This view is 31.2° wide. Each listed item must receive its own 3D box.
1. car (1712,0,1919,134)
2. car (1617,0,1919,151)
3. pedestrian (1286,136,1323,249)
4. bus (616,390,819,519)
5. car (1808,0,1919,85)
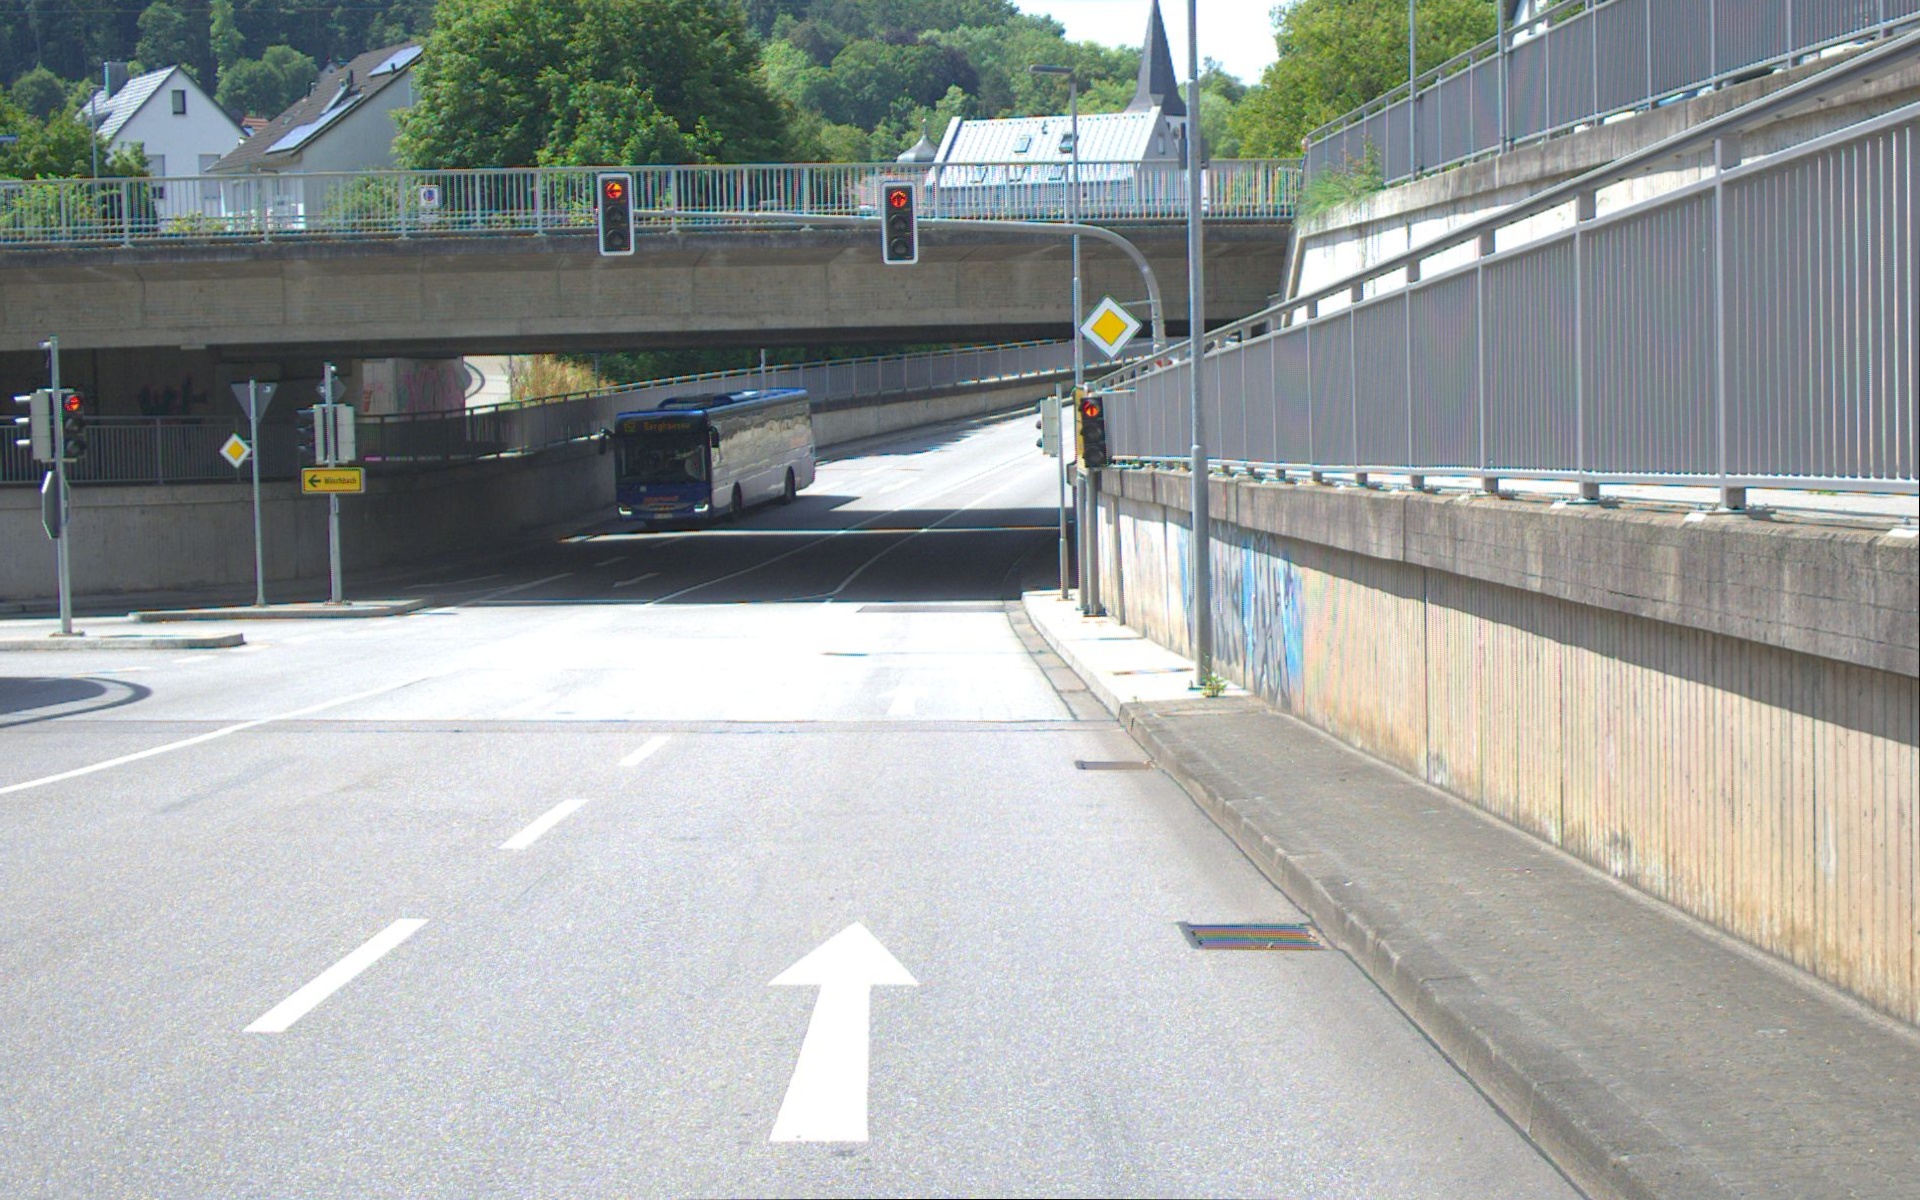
[{"bbox_3d":[9.461,-5.374,33.355,3.987,1.481,1.770,0,1,3],"label":"car"},{"bbox_3d":[9.269,-5.725,37.329,3.987,1.481,1.770,0,1,3],"label":"car"},{"bbox_3d":[6.525,-7.718,65.181,0.539,2.074,0.535,-2,1,-7],"label":"pedestrian"},{"bbox_3d":[-6.263,-3.974,91.335,2.582,3.161,12.374,0,4,9],"label":"bus"},{"bbox_3d":[9.514,-5.318,29.682,3.987,1.481,1.770,0,1,3],"label":"car"}]
